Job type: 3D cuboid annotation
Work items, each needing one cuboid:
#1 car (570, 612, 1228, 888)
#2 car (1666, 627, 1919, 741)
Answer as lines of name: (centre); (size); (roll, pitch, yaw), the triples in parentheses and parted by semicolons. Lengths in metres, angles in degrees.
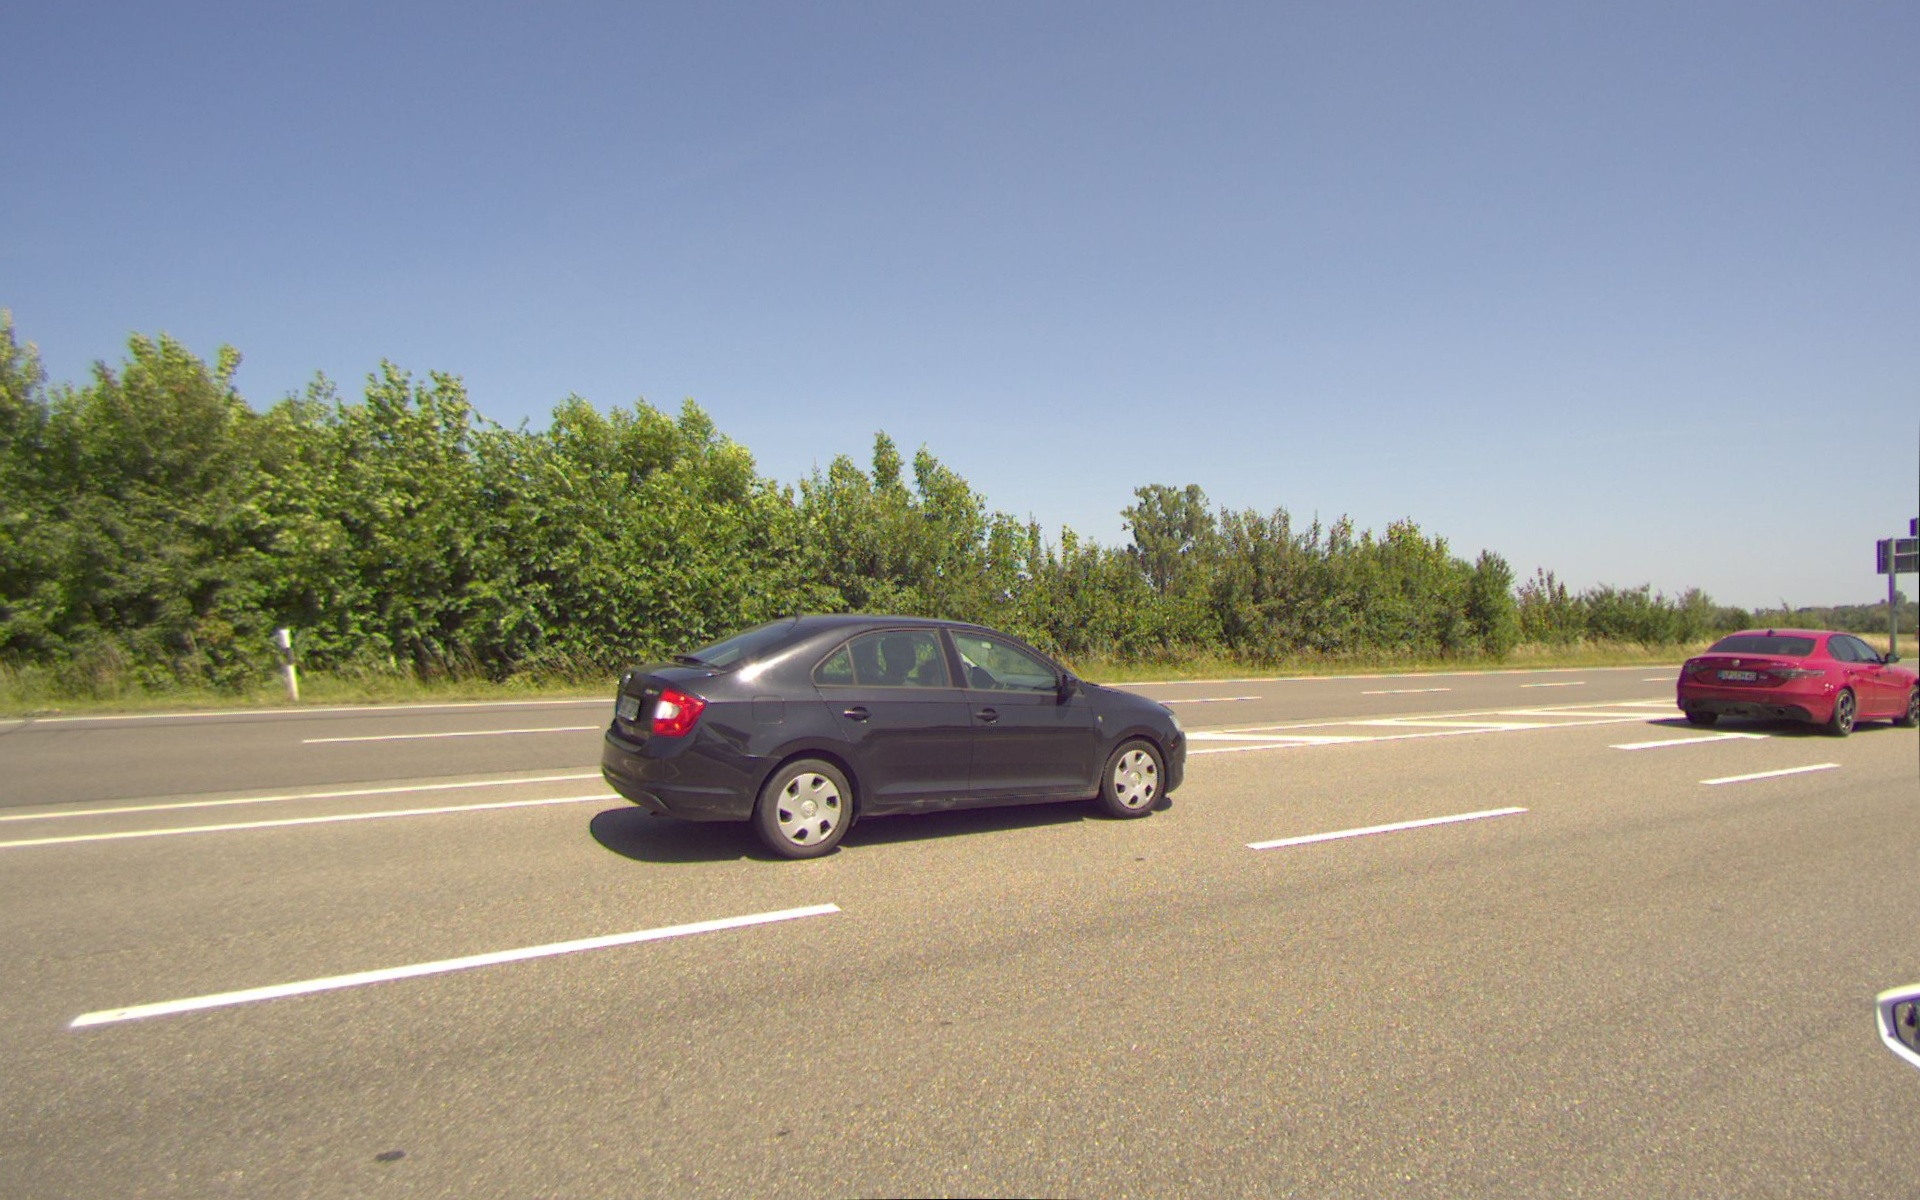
car: (-0.292, 0.840, 7.147); (4.416, 1.430, 1.666); (1, -1, -31)
car: (12.702, 1.155, 15.149); (4.515, 1.440, 1.740); (1, 0, -32)
